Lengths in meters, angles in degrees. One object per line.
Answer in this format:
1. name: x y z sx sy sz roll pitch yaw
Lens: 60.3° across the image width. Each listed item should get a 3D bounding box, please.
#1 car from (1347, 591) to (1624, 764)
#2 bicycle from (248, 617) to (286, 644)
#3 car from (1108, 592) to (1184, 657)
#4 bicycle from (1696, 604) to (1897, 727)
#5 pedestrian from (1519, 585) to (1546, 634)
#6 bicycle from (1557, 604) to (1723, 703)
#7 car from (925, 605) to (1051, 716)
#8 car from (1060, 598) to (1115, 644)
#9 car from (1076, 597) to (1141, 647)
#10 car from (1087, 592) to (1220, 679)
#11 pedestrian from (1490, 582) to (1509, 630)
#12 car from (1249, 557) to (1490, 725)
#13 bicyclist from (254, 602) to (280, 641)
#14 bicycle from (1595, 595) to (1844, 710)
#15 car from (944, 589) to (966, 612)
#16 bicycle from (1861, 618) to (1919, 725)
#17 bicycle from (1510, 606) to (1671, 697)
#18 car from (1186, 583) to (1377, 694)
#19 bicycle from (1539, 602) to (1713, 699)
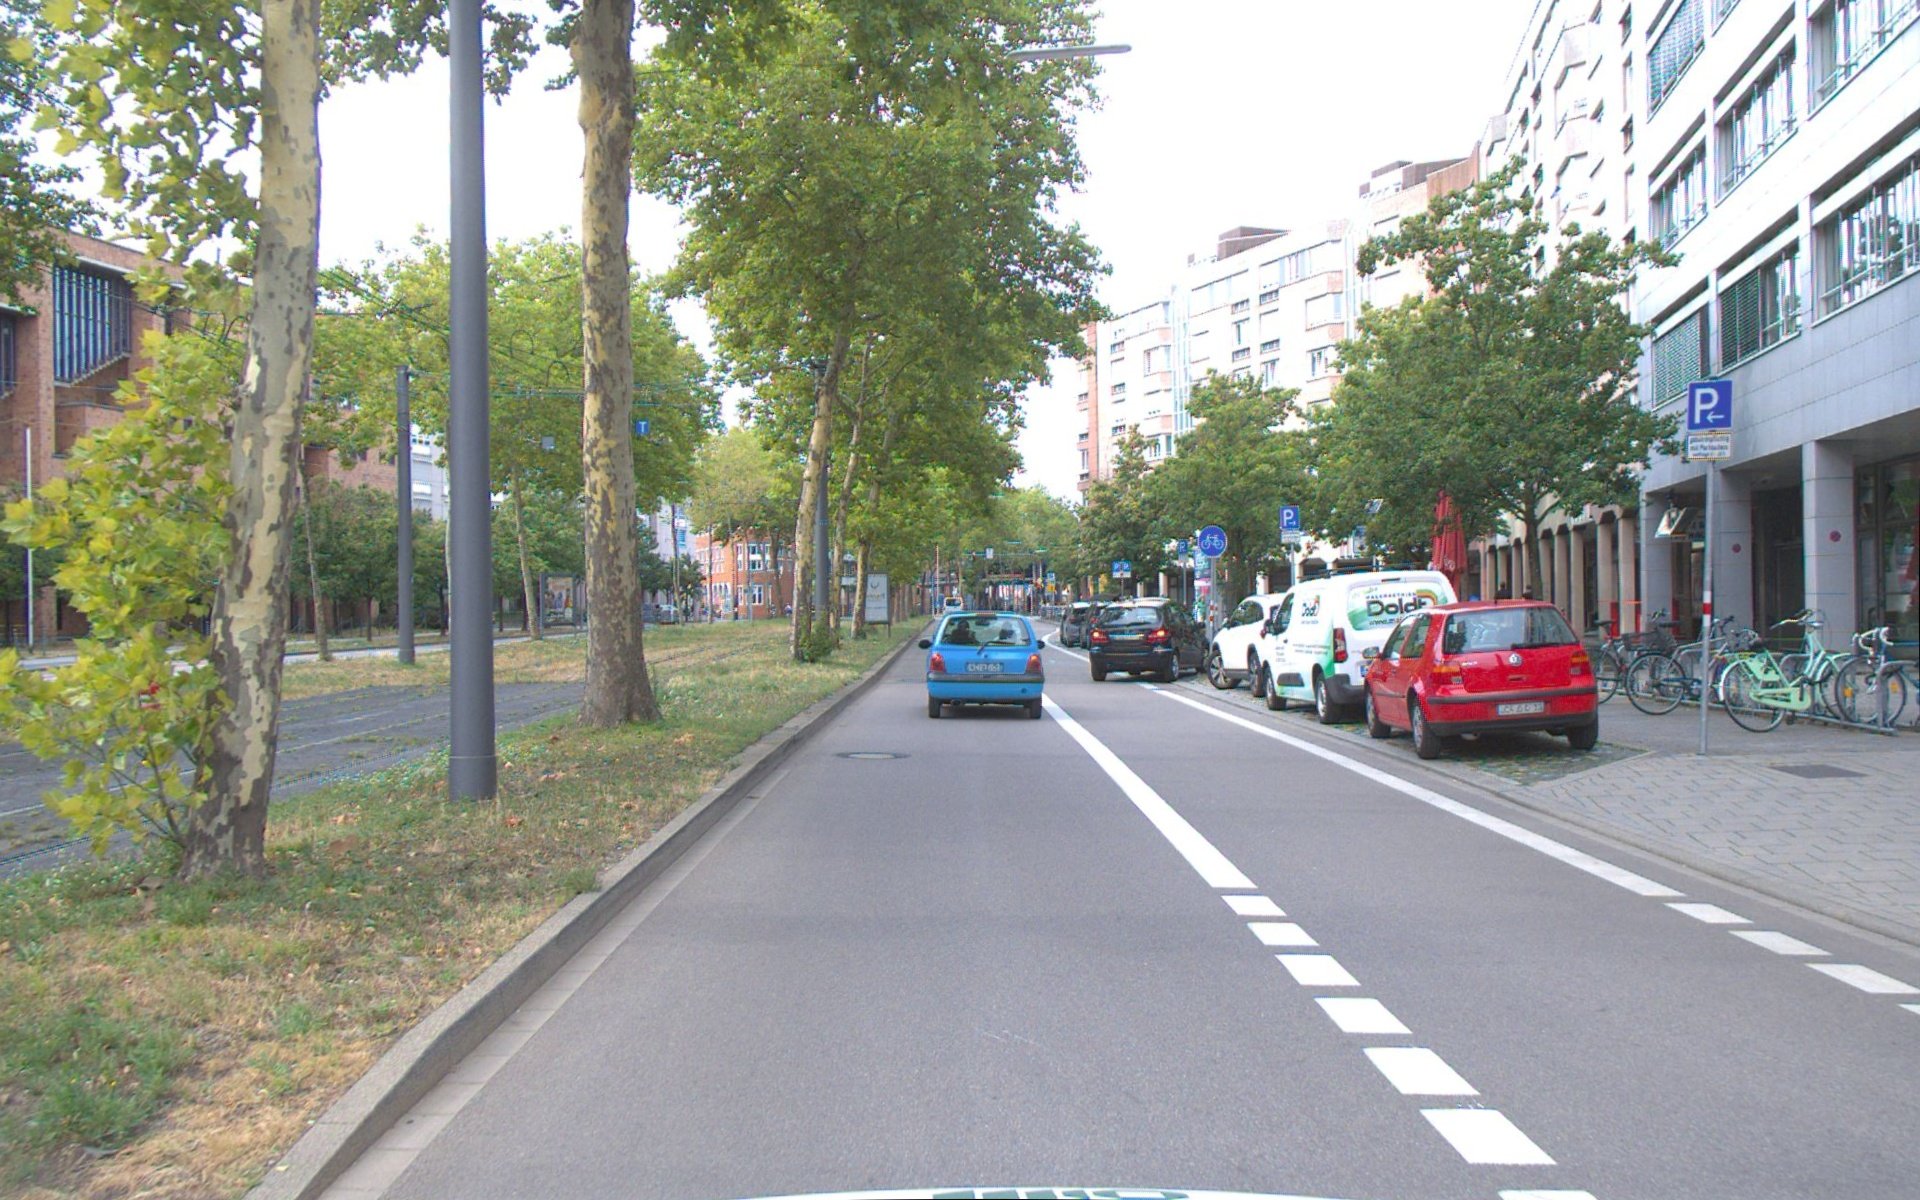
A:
1. car: 5.225 0.689 17.005 1.686 1.457 4.255 -3 0 4
2. bicycle: -29.603 1.298 70.691 0.654 1.103 2.094 -1 0 3
3. car: 5.140 0.658 46.240 1.822 1.682 4.165 -2 0 3
4. bicycle: 8.392 0.644 16.613 1.814 1.158 0.492 -2 0 -7
5. pedestrian: 18.657 0.310 53.907 0.695 1.582 0.799 -1 0 13
6. bicycle: 8.575 0.672 20.904 1.868 1.218 0.480 -1 0 8
7. car: 0.383 0.784 23.150 1.607 1.410 3.843 0 0 1
8. car: 4.603 0.734 60.342 1.704 1.545 4.402 -2 0 1
9. car: 4.915 0.708 55.201 1.680 1.545 4.203 -2 0 -1
10. car: 4.114 0.698 34.585 1.738 1.604 4.306 -3 0 20
11. pedestrian: 17.665 0.194 54.154 0.501 1.582 0.473 -1 0 13
12. car: 5.263 0.480 21.932 1.790 1.897 4.646 -3 0 -2
13. bicyclist: -29.609 0.917 70.634 0.650 1.618 0.984 -1 0 3
14. bicycle: 8.783 0.602 19.190 2.578 1.280 0.655 -1 0 0
15. car: -0.448 0.058 144.626 1.892 1.959 4.955 -1 0 0
16. bicycle: 9.702 0.674 16.213 1.527 1.004 0.422 -2 0 -5
17. bicycle: 8.745 0.715 22.983 2.011 1.218 0.480 -1 0 8
18. car: 5.395 0.604 28.370 1.956 1.630 4.578 -3 0 -5
19. bicycle: 8.615 0.654 21.438 2.011 1.218 0.480 -1 0 8
